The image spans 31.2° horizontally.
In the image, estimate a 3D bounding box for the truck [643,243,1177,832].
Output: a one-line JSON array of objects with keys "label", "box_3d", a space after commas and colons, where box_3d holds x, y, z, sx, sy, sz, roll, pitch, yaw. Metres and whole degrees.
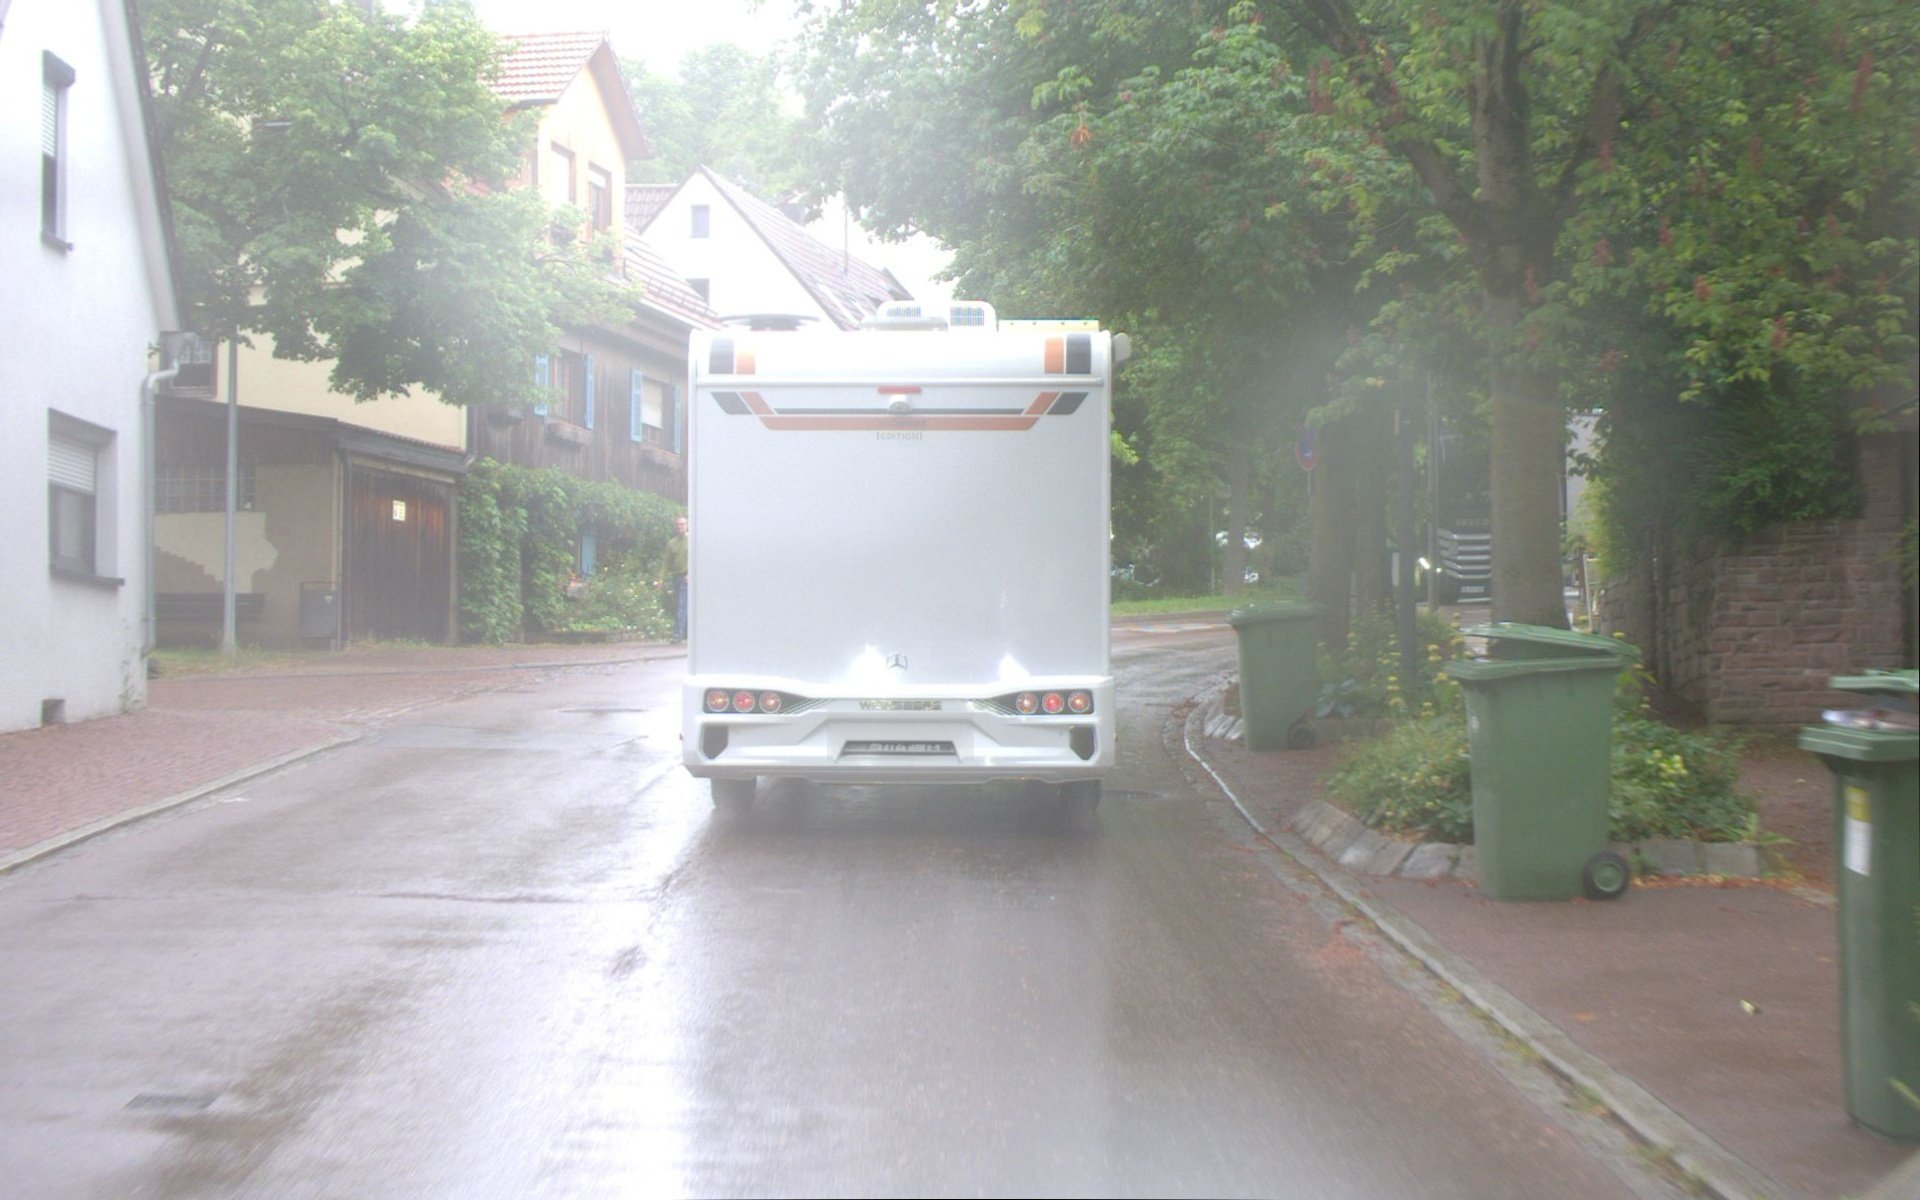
[{"label": "truck", "box_3d": [-0.309, -0.365, 20.591, 2.694, 2.975, 6.237, 0, 1, -1]}]

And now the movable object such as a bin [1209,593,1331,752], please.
[{"label": "movable object such as a bin", "box_3d": [2.244, 0.516, 24.978, 0.769, 1.103, 0.884, -2, 1, 0]}]

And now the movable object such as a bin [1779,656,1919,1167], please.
[{"label": "movable object such as a bin", "box_3d": [2.508, 0.756, 8.616, 0.721, 1.208, 0.727, 0, 1, 0]}]

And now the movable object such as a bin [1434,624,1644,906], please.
[{"label": "movable object such as a bin", "box_3d": [2.426, 0.681, 14.458, 0.723, 1.139, 0.703, 0, 1, -3]}]

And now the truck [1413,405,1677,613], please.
[{"label": "truck", "box_3d": [12.709, -1.896, 73.778, 2.842, 4.152, 9.963, 1, 1, 26]}]

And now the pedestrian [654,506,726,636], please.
[{"label": "pedestrian", "box_3d": [-3.907, -0.421, 49.837, 0.794, 1.861, 0.916, 0, 0, 12]}]
